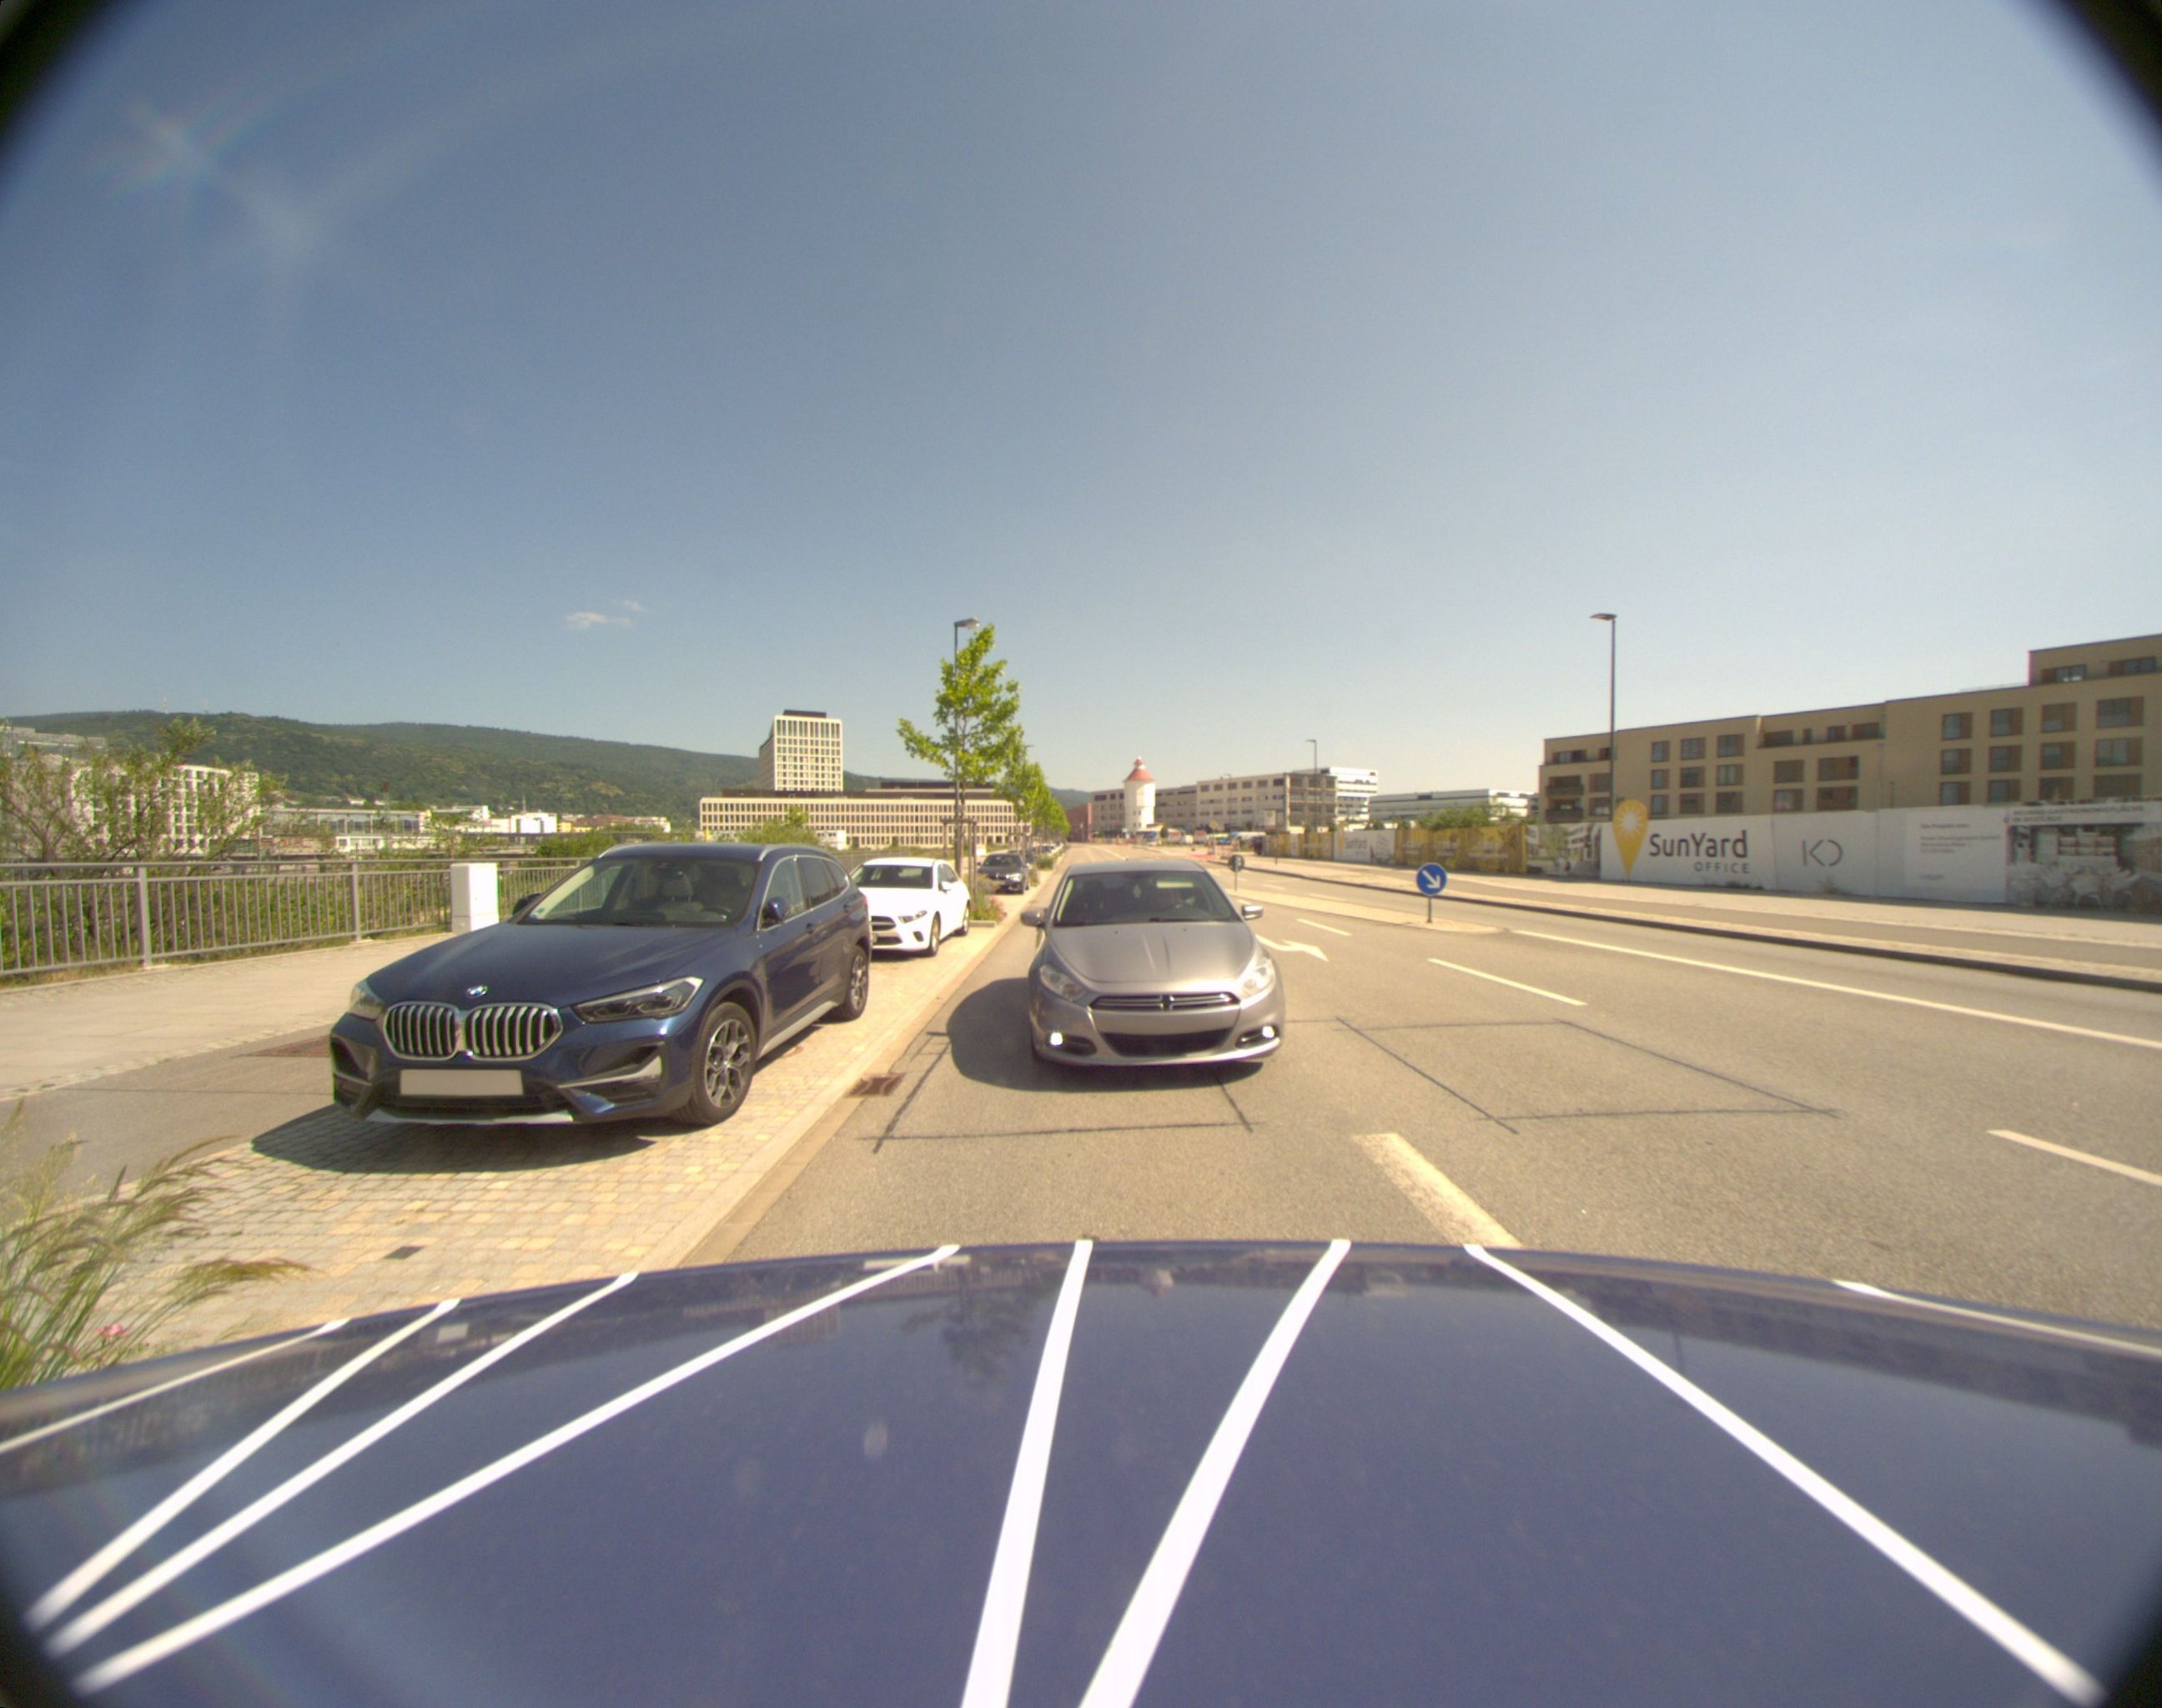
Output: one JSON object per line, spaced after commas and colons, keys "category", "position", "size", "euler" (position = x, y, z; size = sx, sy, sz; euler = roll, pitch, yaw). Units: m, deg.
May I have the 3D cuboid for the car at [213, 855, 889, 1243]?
{"category": "car", "position": [-2.865, 0.867, 5.462], "size": [1.769, 1.598, 4.238], "euler": [-2, 1, 1]}

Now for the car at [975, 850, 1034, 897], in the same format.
{"category": "car", "position": [-2.744, 0.654, 27.985], "size": [1.664, 1.529, 3.999], "euler": [-2, 1, 1]}

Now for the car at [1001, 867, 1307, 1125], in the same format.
{"category": "car", "position": [0.466, 0.891, 6.622], "size": [1.784, 1.372, 4.135], "euler": [-2, 1, 1]}

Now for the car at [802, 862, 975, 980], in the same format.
{"category": "car", "position": [-2.885, 0.929, 12.259], "size": [1.664, 1.447, 3.999], "euler": [-2, 1, 1]}

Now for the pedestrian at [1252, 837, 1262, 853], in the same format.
{"category": "pedestrian", "position": [17.919, -0.935, 77.527], "size": [0.705, 1.577, 0.617], "euler": [-3, 1, -36]}
